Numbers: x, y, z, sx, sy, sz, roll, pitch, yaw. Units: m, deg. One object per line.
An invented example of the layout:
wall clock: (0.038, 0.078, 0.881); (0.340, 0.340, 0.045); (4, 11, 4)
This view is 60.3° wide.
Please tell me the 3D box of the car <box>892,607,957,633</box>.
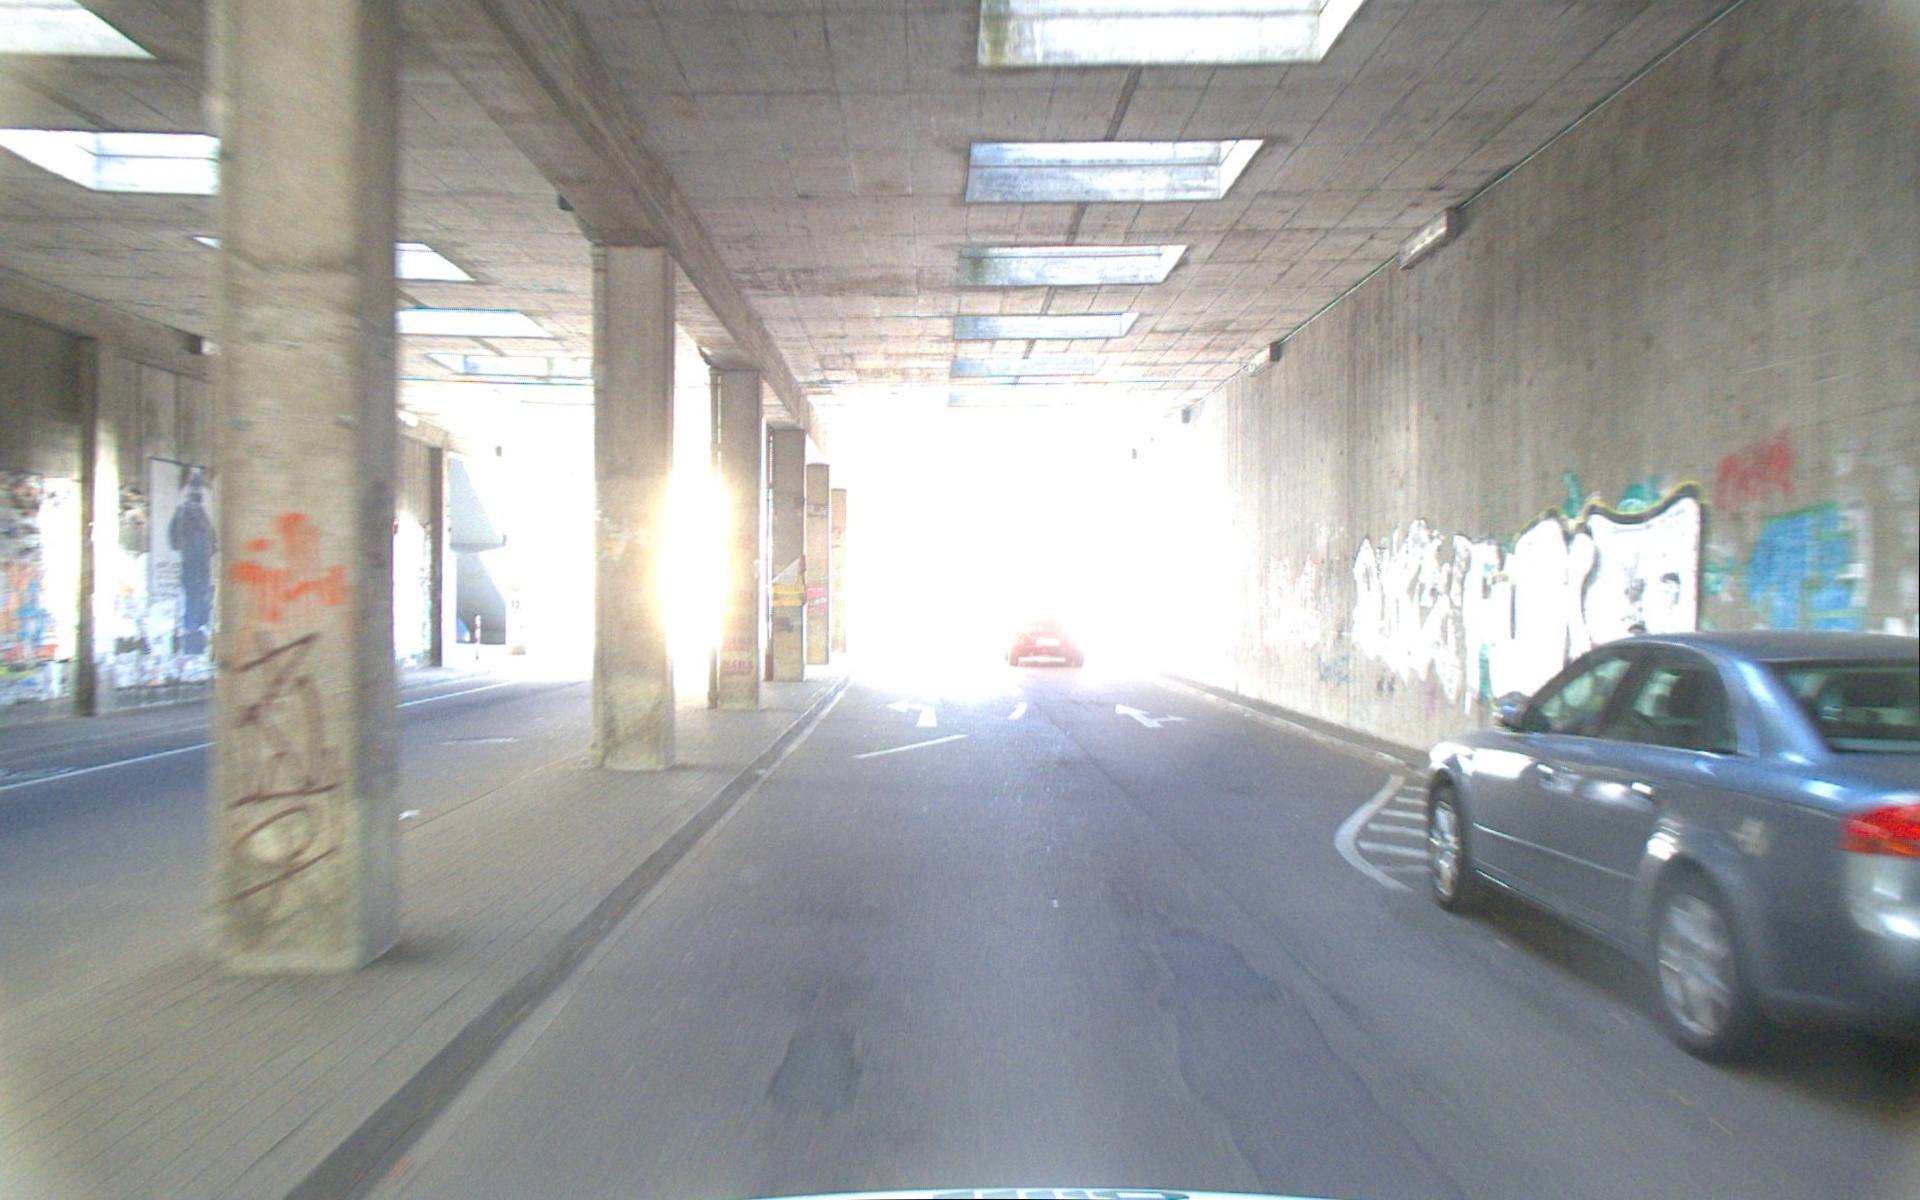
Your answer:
car: (-2.183, 1.221, 102.427); (3.903, 1.601, 1.640); (0, 0, 3)

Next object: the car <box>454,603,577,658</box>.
car: (-17.732, 1.205, 66.109); (4.388, 2.048, 2.000); (0, 2, -1)

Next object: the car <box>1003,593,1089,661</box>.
car: (1.991, 0.598, 39.346); (1.789, 1.527, 4.210); (0, 0, -1)

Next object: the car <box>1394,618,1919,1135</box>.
car: (3.274, 0.806, 6.859); (1.667, 1.398, 4.372); (1, 0, -2)

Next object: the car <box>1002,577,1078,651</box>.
car: (2.151, 0.370, 45.753); (1.778, 1.915, 4.584); (-1, 0, -1)

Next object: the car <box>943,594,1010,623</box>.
car: (1.077, 0.540, 106.236); (4.063, 1.769, 2.001); (-1, 0, 6)
